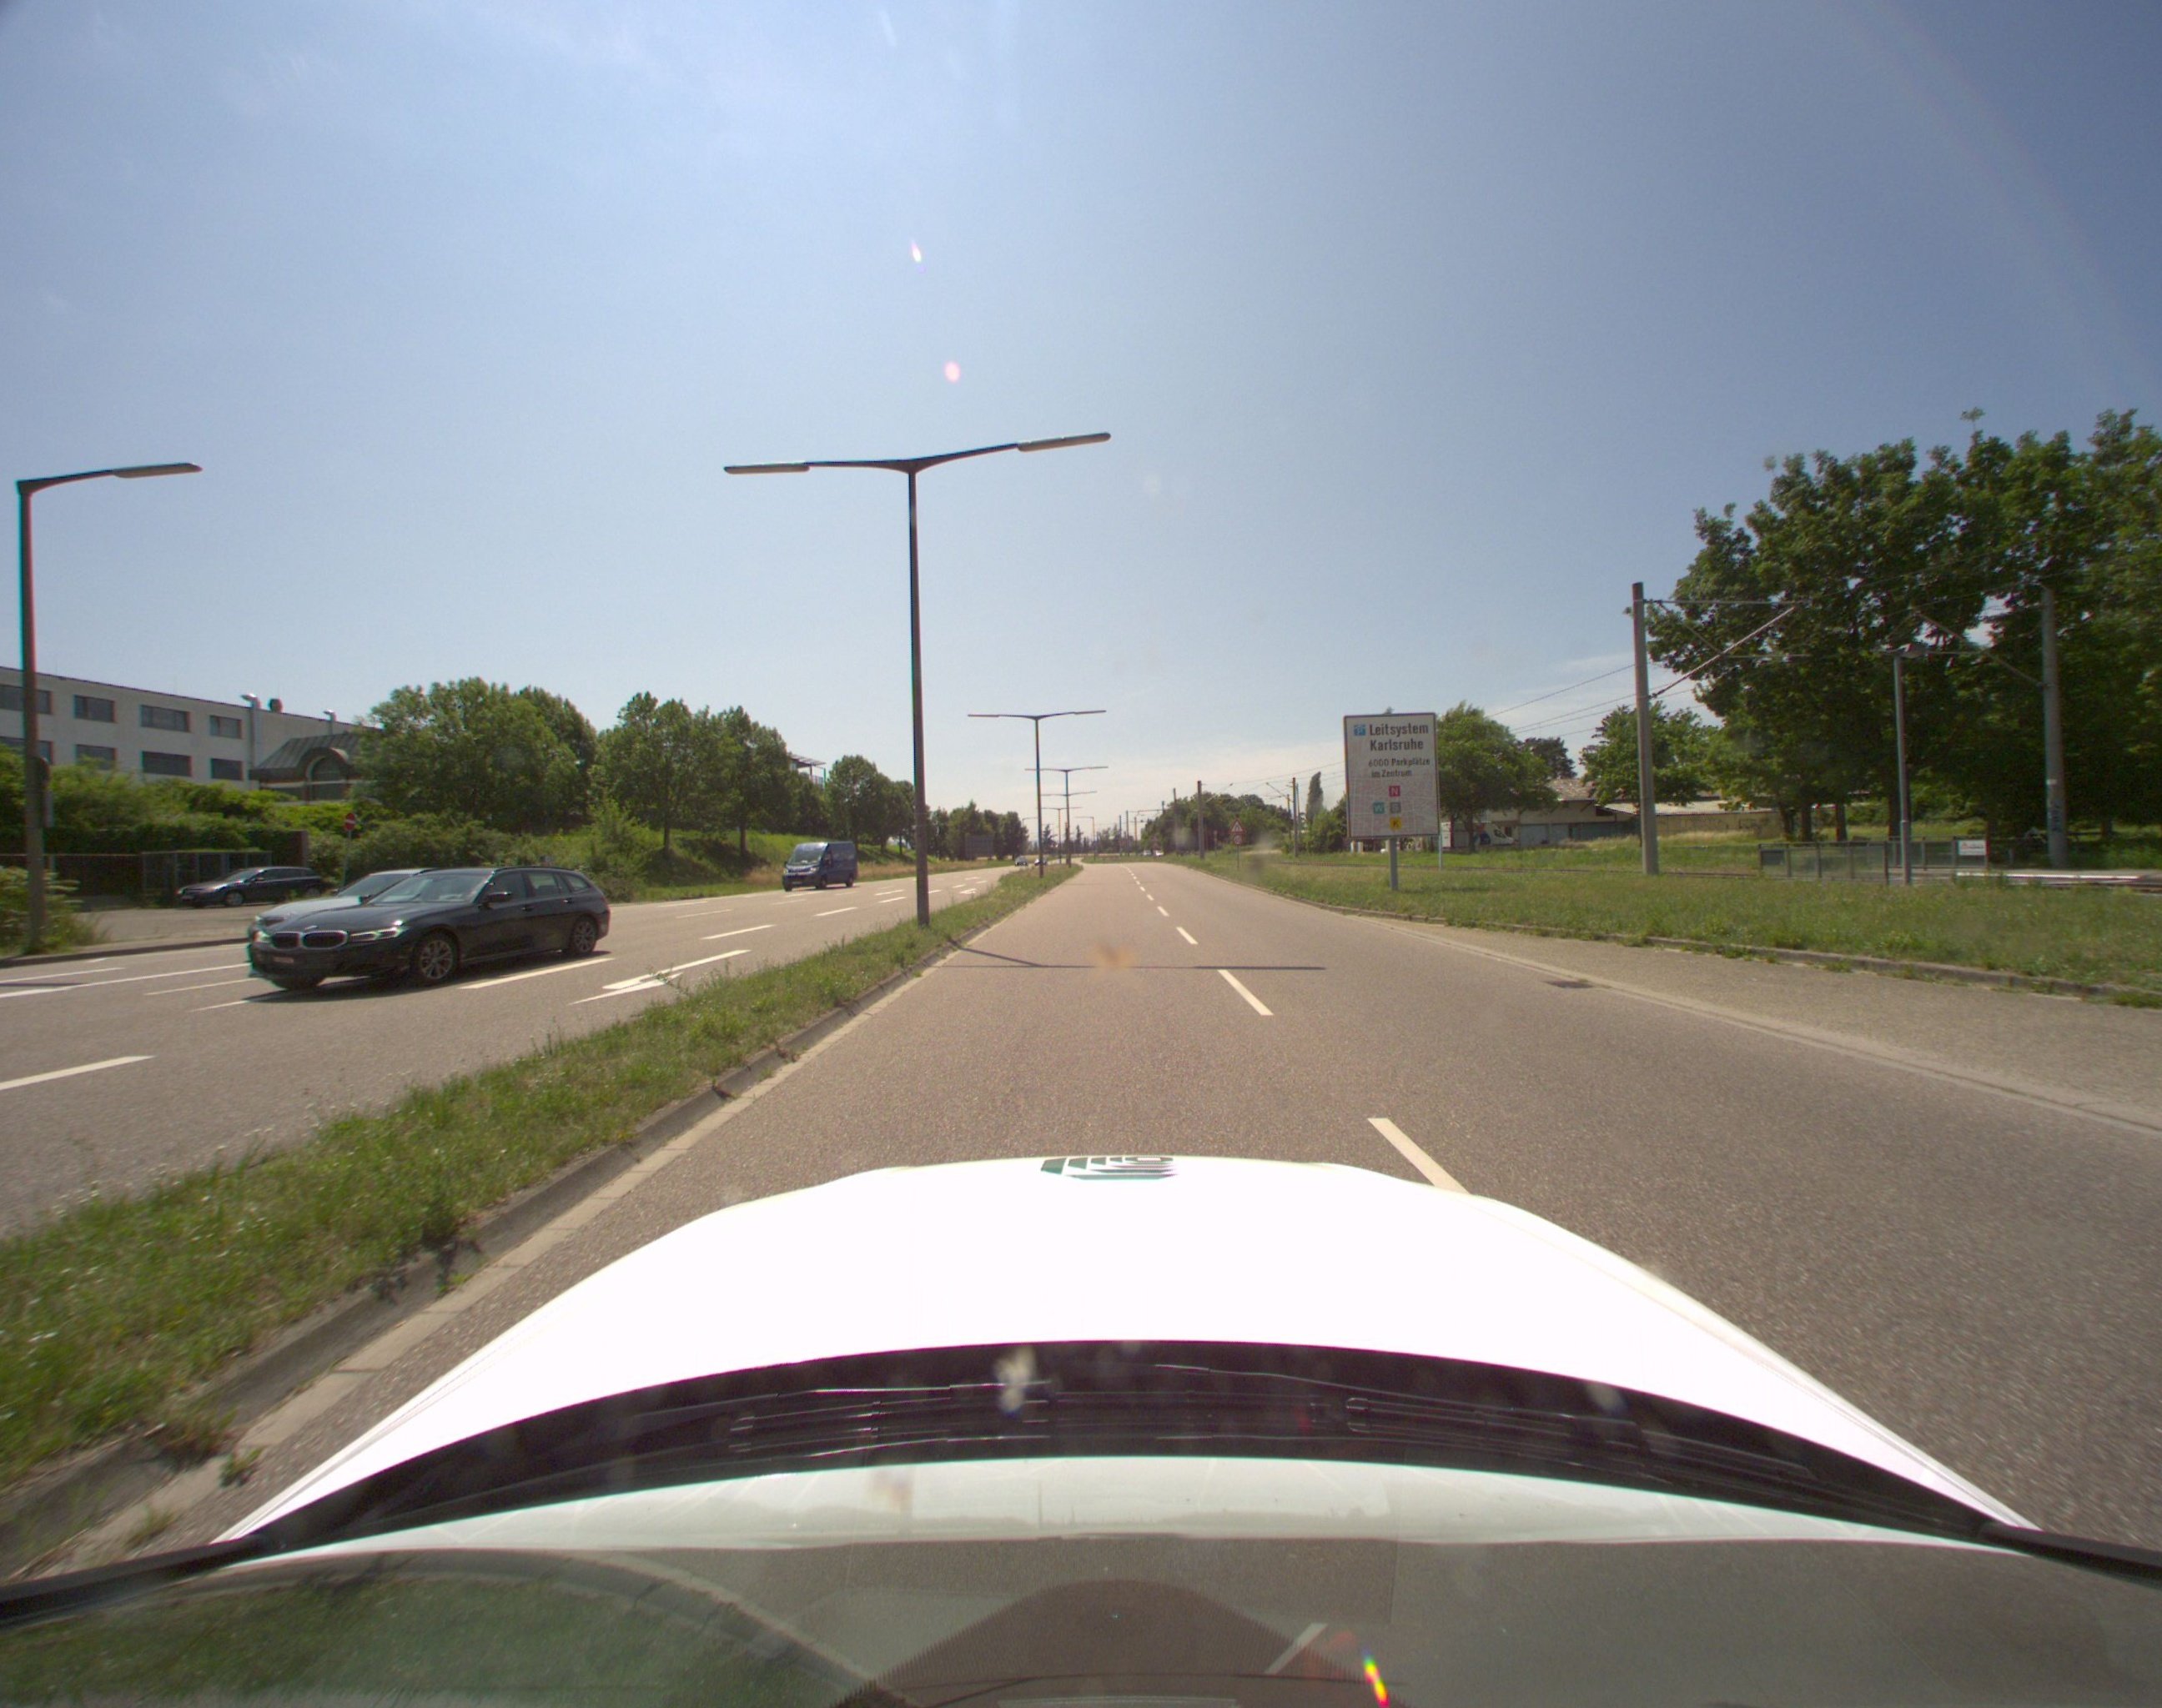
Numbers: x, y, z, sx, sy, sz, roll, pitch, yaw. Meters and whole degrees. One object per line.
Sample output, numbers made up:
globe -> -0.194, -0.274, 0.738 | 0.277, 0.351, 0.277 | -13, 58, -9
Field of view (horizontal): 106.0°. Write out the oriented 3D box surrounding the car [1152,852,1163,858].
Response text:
car -> 15.639, 0.202, 166.567 | 1.560, 1.179, 3.073 | -3, 0, -5

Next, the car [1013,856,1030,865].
car -> -9.122, 0.985, 125.077 | 1.985, 1.360, 4.669 | -3, 0, 3

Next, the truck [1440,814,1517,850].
truck -> 35.815, -1.971, 73.389 | 5.835, 2.843, 2.314 | -3, -1, -7

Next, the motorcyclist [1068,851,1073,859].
motorcyclist -> -3.123, 0.423, 244.321 | 1.225, 2.351, 1.108 | -1, -1, 4

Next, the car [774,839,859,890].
car -> -13.727, 0.503, 42.757 | 2.164, 2.411, 5.678 | -2, 0, 4

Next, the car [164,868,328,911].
car -> -32.022, 1.331, 31.406 | 1.865, 1.409, 4.012 | -2, 0, 10

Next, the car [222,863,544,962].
car -> -12.645, 0.951, 15.311 | 1.825, 1.449, 4.850 | -2, 0, 0

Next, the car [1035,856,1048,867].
car -> -5.899, 1.109, 122.280 | 1.686, 1.492, 4.000 | -2, 0, 0

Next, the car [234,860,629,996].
car -> -8.644, 0.853, 11.515 | 1.724, 1.458, 4.568 | -2, 0, 3

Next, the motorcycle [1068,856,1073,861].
motorcycle -> -3.126, 1.275, 244.140 | 0.985, 1.581, 3.404 | -1, -1, 4
